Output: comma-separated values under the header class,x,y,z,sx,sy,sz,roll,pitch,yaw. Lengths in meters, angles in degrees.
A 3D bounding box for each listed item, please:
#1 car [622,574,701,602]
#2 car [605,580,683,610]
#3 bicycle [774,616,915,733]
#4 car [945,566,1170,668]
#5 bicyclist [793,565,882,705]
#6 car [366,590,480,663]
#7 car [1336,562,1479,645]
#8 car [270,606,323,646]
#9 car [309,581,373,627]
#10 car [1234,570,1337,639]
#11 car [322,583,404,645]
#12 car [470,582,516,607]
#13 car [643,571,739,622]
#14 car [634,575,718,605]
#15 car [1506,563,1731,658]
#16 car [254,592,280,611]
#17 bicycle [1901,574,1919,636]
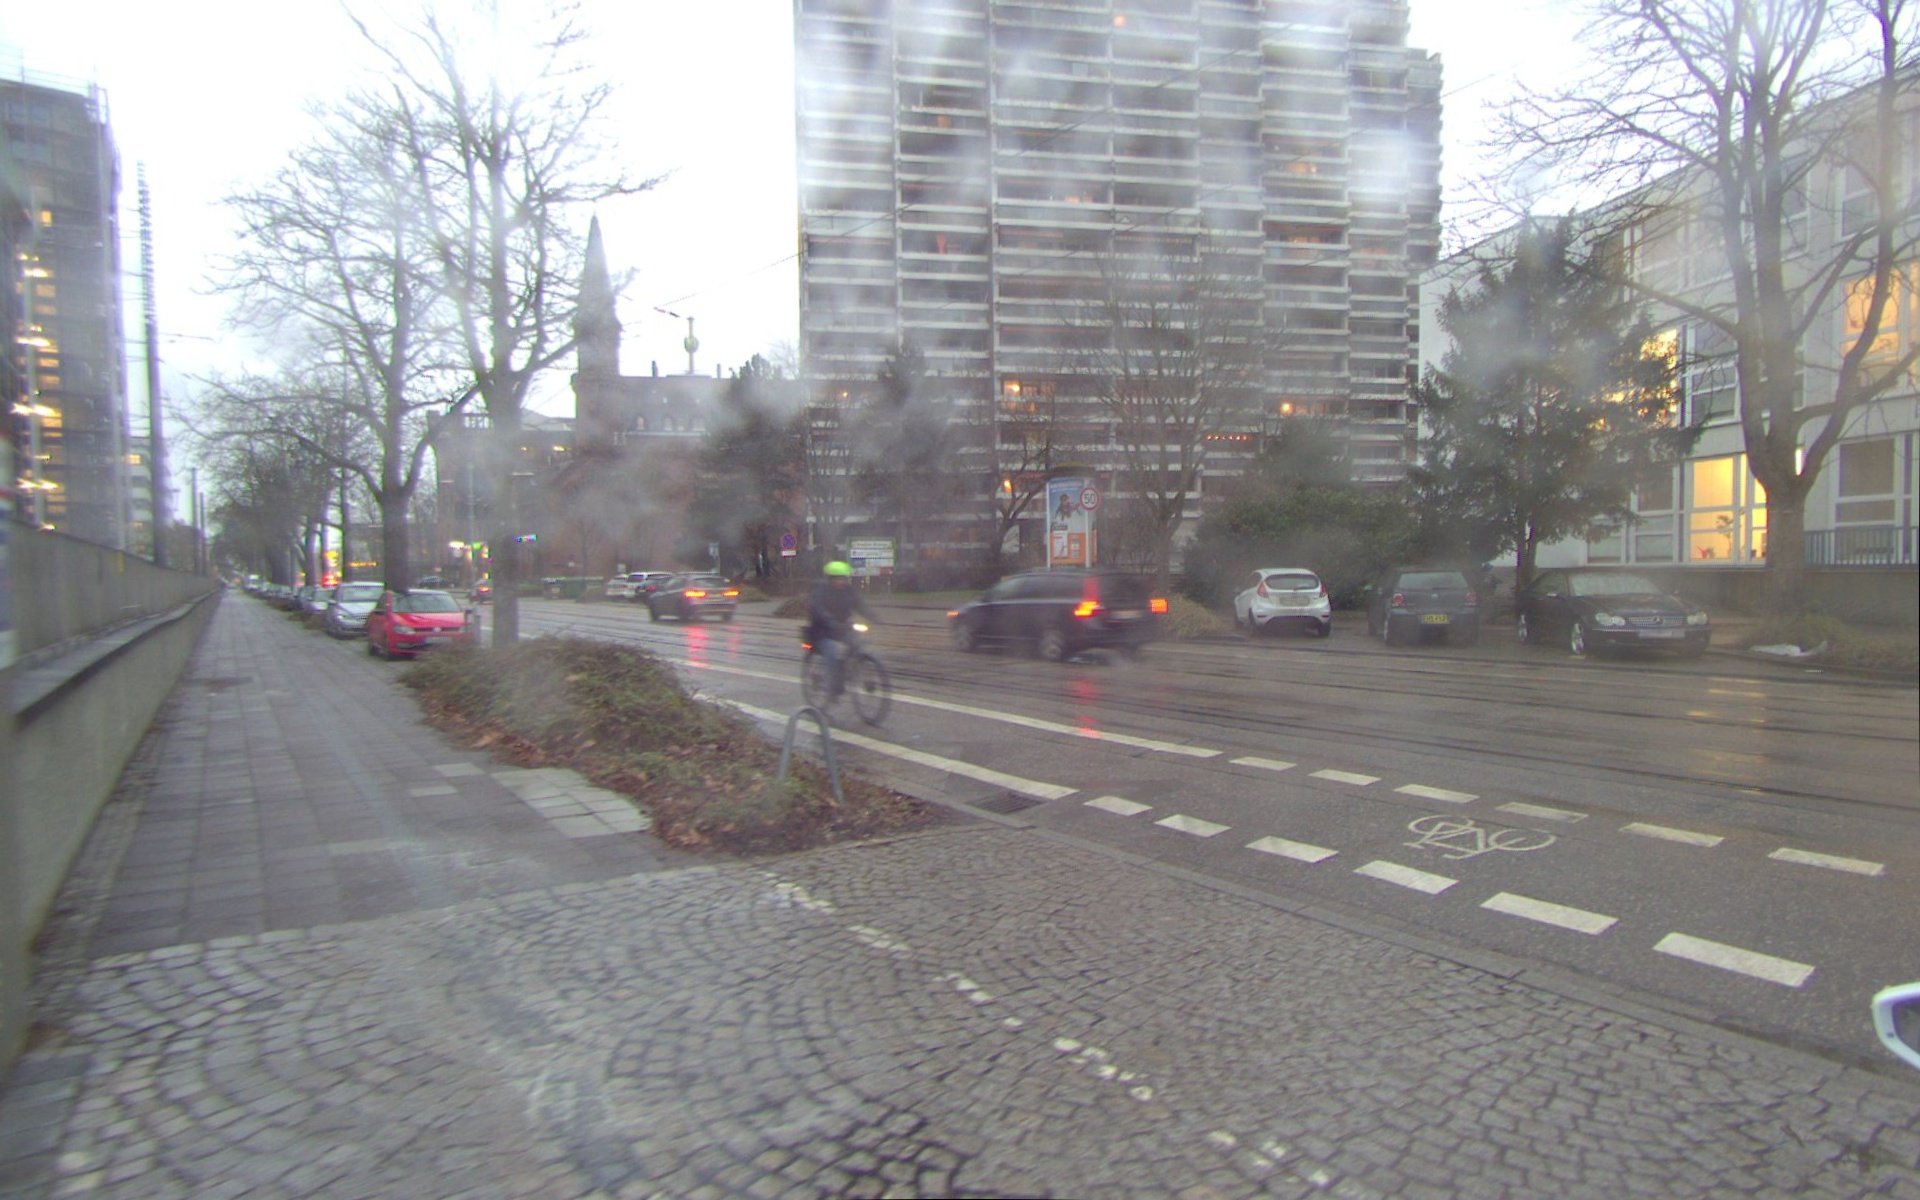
class,x,y,z,sx,sy,sz,roll,pitch,yaw
car,-16.518,-0.675,55.614,3.954,1.506,1.658,-1,1,-31
car,-18.314,-0.319,58.281,3.953,1.662,1.983,-1,1,-31
bicycle,-1.305,0.754,10.961,0.702,1.111,2.010,-1,1,-33
car,1.577,0.242,17.744,1.734,1.565,4.257,-1,1,-32
bicyclist,-1.353,0.363,11.043,0.651,1.466,0.841,-1,1,-33
car,-11.595,0.501,21.584,1.736,1.406,3.700,-1,1,-34
car,8.884,0.043,20.303,1.818,1.482,4.002,-1,1,12
car,-29.331,1.121,44.426,1.848,1.615,3.962,-1,1,-34
car,-23.005,0.130,37.261,1.848,1.615,3.962,-1,1,-34
car,7.342,0.070,22.986,1.818,1.418,4.002,-1,1,12
car,-17.005,0.358,28.533,1.736,1.605,3.700,-1,1,-34
car,-28.118,-0.351,60.420,1.750,1.430,3.959,-1,1,-36
car,-9.138,-0.132,33.893,1.696,1.600,4.334,-1,1,-36
car,-14.858,-0.534,52.560,3.954,1.506,1.658,-1,1,-31
car,10.868,0.136,16.942,1.818,1.397,4.002,-1,1,12
car,-59.873,0.141,86.811,1.736,1.605,3.700,-1,1,-34
bicycle,18.706,0.080,18.726,2.168,1.136,0.640,-1,1,-14
